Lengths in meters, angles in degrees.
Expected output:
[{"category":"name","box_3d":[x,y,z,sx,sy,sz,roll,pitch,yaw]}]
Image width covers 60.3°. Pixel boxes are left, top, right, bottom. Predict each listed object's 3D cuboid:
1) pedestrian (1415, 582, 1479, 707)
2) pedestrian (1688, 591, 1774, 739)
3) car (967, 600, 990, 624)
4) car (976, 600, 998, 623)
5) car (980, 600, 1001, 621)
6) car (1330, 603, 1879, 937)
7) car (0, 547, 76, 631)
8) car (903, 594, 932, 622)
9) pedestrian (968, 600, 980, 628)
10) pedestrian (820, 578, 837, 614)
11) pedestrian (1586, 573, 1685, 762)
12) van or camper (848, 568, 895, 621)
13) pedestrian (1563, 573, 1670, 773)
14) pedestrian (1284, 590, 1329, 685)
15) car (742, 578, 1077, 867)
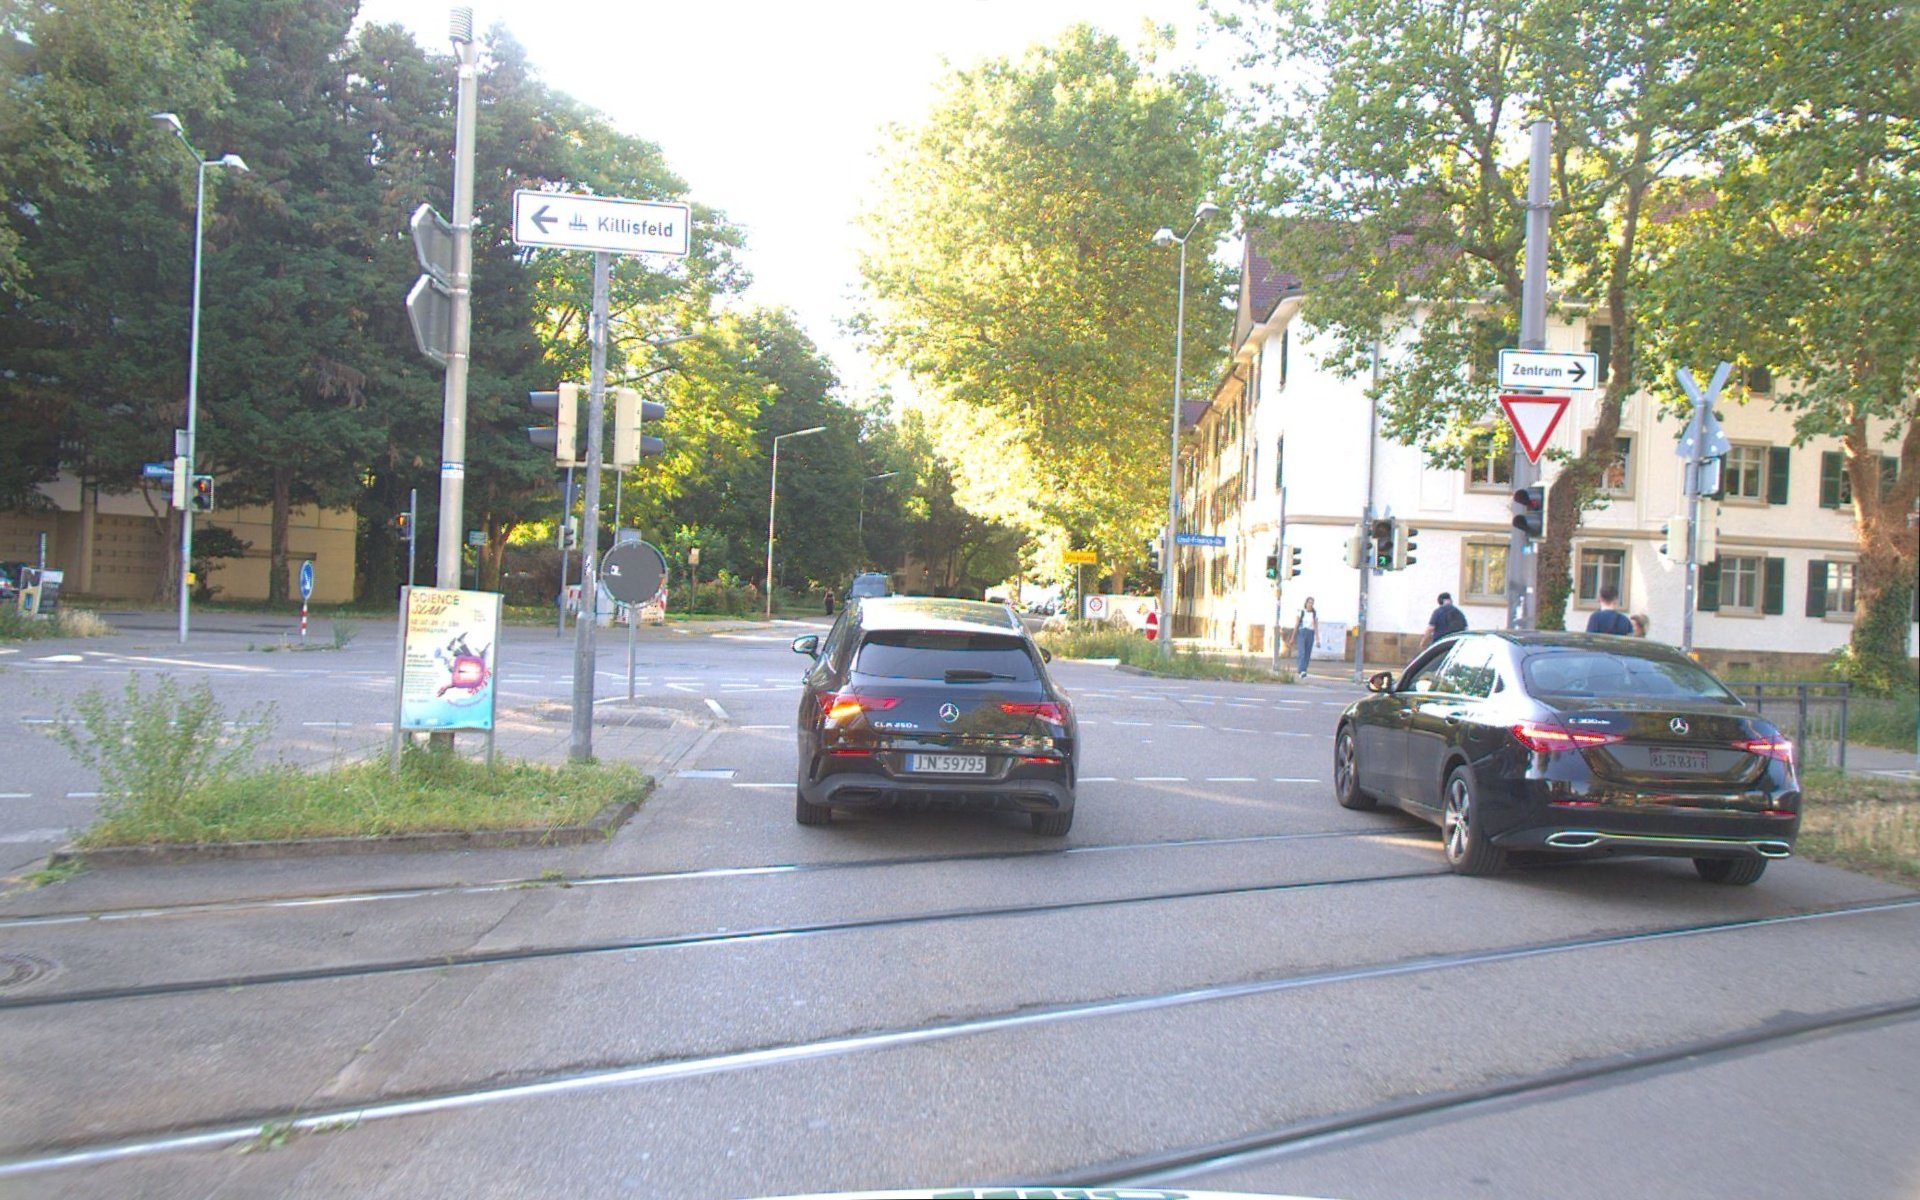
[{"category":"pedestrian","box_3d":[7.880,0.713,26.783,0.691,1.951,0.839,3,-1,-2]},{"category":"pedestrian","box_3d":[10.517,0.873,22.588,0.691,1.951,0.839,3,-1,-2]},{"category":"car","box_3d":[1.473,0.973,132.833,1.698,1.796,4.019,3,0,1]},{"category":"car","box_3d":[2.252,0.989,137.612,1.698,1.796,4.019,3,0,1]},{"category":"car","box_3d":[2.685,0.927,145.690,1.698,1.796,4.019,3,0,1]},{"category":"car","box_3d":[3.917,0.913,10.991,1.851,1.516,4.382,3,2,0]},{"category":"car","box_3d":[-22.329,-0.310,37.088,3.902,1.805,2.001,3,-1,9]},{"category":"car","box_3d":[-2.906,0.534,113.767,1.698,1.796,3.971,3,0,1]},{"category":"pedestrian","box_3d":[0.997,1.002,117.275,0.692,1.951,0.837,3,-1,-8]},{"category":"pedestrian","box_3d":[-7.394,-0.226,92.769,0.690,1.951,0.840,3,-1,7]},{"category":"pedestrian","box_3d":[7.199,0.709,17.650,0.669,1.951,0.707,3,-1,-2]},{"category":"van or camper","box_3d":[-4.645,-0.262,87.147,1.952,2.585,4.651,3,-1,2]},{"category":"pedestrian","box_3d":[6.643,0.725,16.756,0.692,1.951,0.683,3,-1,-9]},{"category":"pedestrian","box_3d":[7.383,0.795,35.280,0.691,1.951,0.839,3,-1,-2]},{"category":"car","box_3d":[-0.189,0.675,11.481,1.850,1.475,4.002,3,2,3]}]
